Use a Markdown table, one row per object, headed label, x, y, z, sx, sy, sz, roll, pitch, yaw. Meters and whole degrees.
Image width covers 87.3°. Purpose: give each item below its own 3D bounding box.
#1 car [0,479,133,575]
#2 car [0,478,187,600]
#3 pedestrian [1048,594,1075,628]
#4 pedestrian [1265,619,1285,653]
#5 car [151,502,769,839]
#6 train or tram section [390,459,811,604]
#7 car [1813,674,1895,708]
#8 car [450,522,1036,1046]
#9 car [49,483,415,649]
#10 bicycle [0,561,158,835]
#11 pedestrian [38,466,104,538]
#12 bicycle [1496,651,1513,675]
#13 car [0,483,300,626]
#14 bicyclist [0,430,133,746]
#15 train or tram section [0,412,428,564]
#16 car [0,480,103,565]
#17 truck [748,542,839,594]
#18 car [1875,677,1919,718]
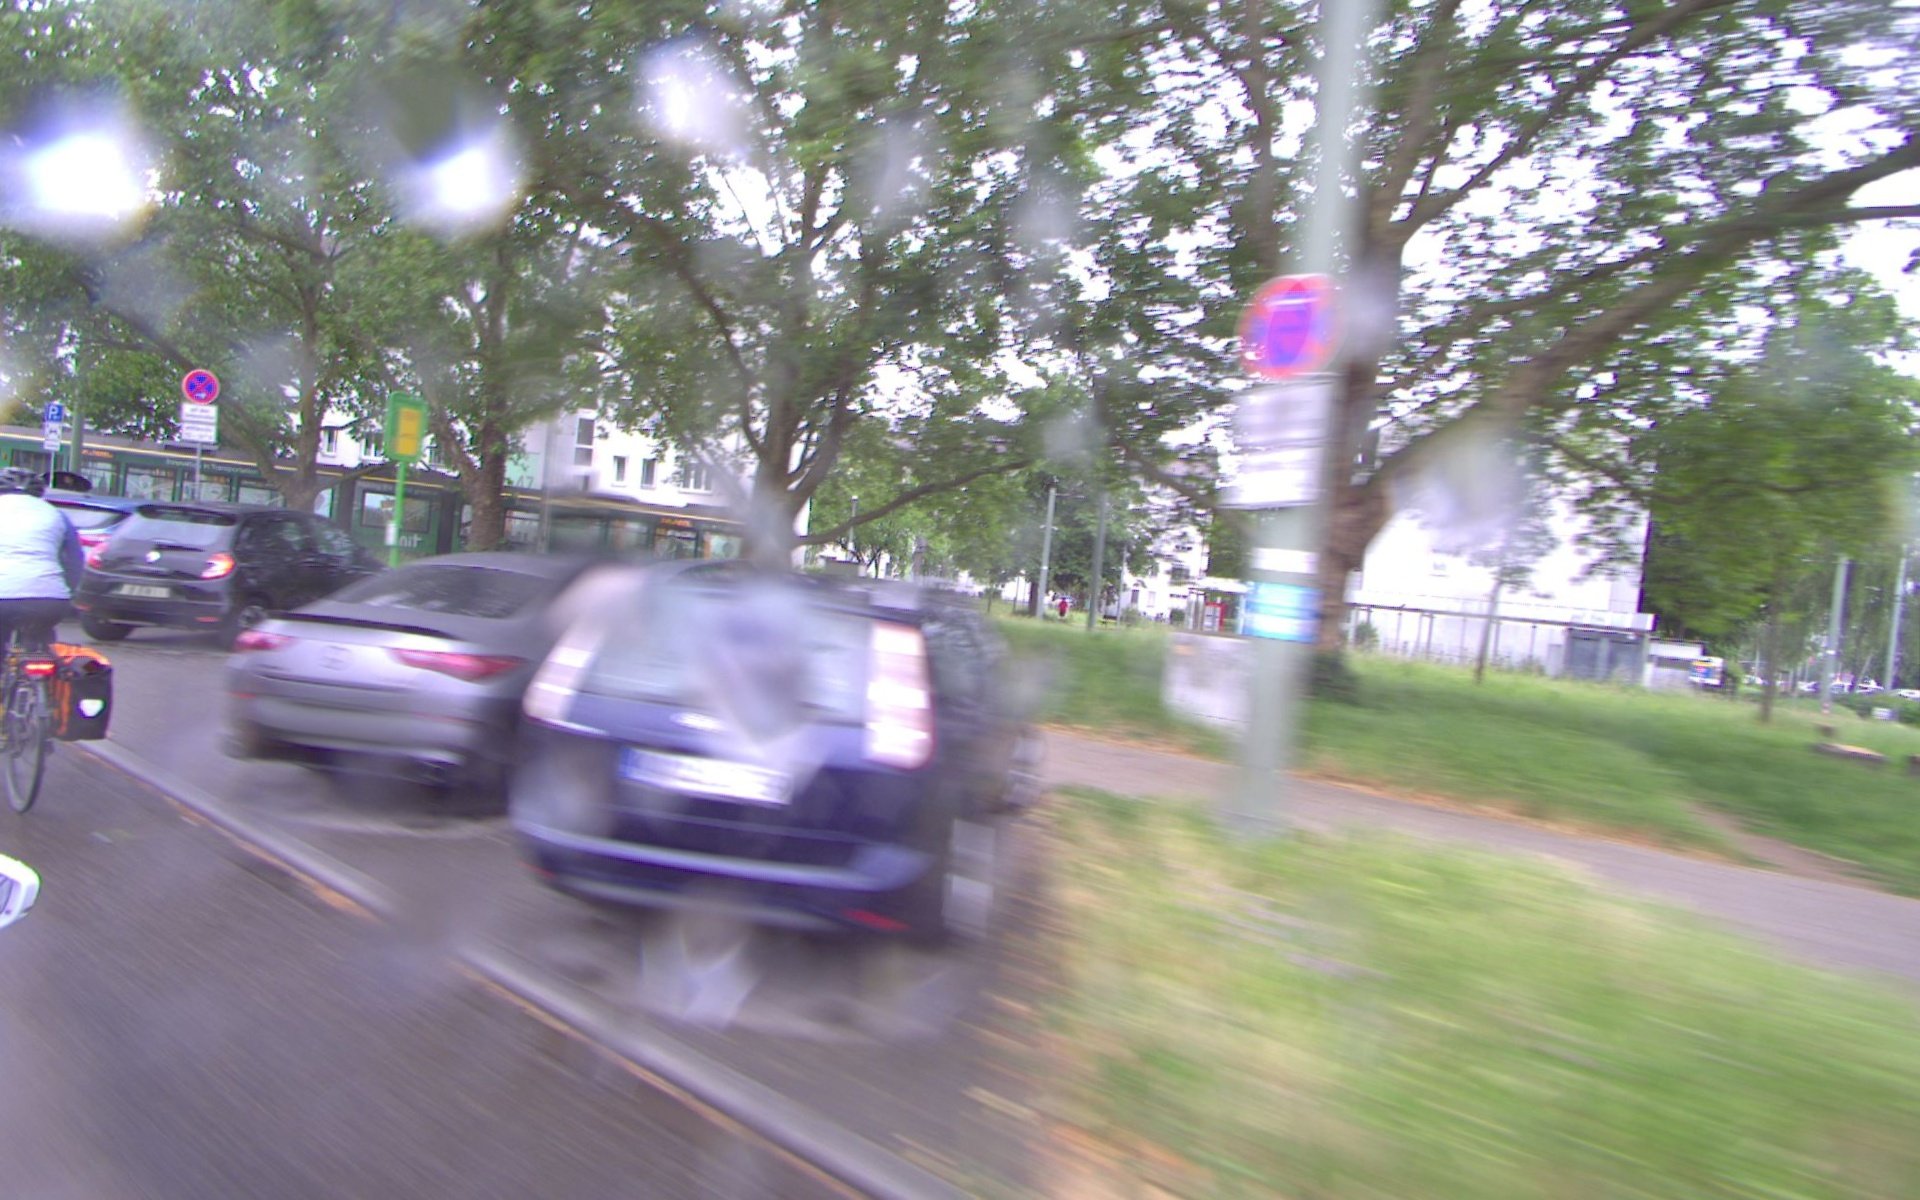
| label | x | y | z | sx | sy | sz | roll | pitch | yaw |
| --- | --- | --- | --- | --- | --- | --- | --- | --- | --- |
| car | -16.159 | -1.251 | 16.346 | 1.831 | 1.500 | 4.119 | 6 | 2 | 3 |
| car | -13.457 | -0.903 | 14.384 | 1.925 | 1.574 | 3.993 | 4 | 2 | -5 |
| pedestrian | 5.987 | 0.660 | 59.368 | 1.171 | 1.907 | 1.050 | 4 | 0 | -17 |
| pedestrian | 15.373 | 1.752 | 49.088 | 0.626 | 1.592 | 0.787 | 5 | 1 | 35 |
| car | -2.981 | 0.344 | 7.328 | 1.770 | 1.495 | 4.549 | 6 | 1 | 6 |
| train or tram section | -13.082 | -2.430 | 38.004 | 14.482 | 3.634 | 2.711 | 6 | 0 | -9 |
| car | 68.926 | 6.986 | 77.677 | 4.375 | 2.088 | 1.717 | 4 | 0 | 33 |
| car | -0.577 | 0.582 | 5.353 | 1.770 | 1.495 | 4.176 | 6 | 1 | 5 |
| car | -8.222 | -0.401 | 11.799 | 1.721 | 1.526 | 3.512 | 4 | 2 | -1 |
| bicycle | -4.969 | 0.414 | 5.126 | 1.895 | 1.087 | 0.753 | 8 | 3 | 32 |
| pedestrian | -23.682 | -2.606 | 26.795 | 1.063 | 1.737 | 1.044 | 7 | 3 | 35 |
| bicycle | 22.700 | 2.623 | 41.929 | 0.372 | 0.968 | 1.232 | 5 | 0 | 39 |
| car | -10.851 | -0.663 | 13.338 | 1.791 | 1.522 | 3.991 | 4 | 4 | -5 |
| bicyclist | -4.848 | -0.091 | 5.068 | 0.832 | 1.505 | 0.751 | 8 | 3 | 32 |
| train or tram section | -27.324 | -3.934 | 35.850 | 14.482 | 3.634 | 2.711 | 6 | 0 | -9 |
| car | -18.319 | -1.507 | 18.566 | 1.606 | 1.500 | 3.596 | 6 | 2 | 9 |
| truck | -12.757 | -2.490 | 76.715 | 3.180 | 3.517 | 7.062 | 4 | 0 | -44 |
| car | 53.979 | 5.555 | 55.805 | 4.375 | 2.088 | 1.717 | 4 | 0 | 33 |
